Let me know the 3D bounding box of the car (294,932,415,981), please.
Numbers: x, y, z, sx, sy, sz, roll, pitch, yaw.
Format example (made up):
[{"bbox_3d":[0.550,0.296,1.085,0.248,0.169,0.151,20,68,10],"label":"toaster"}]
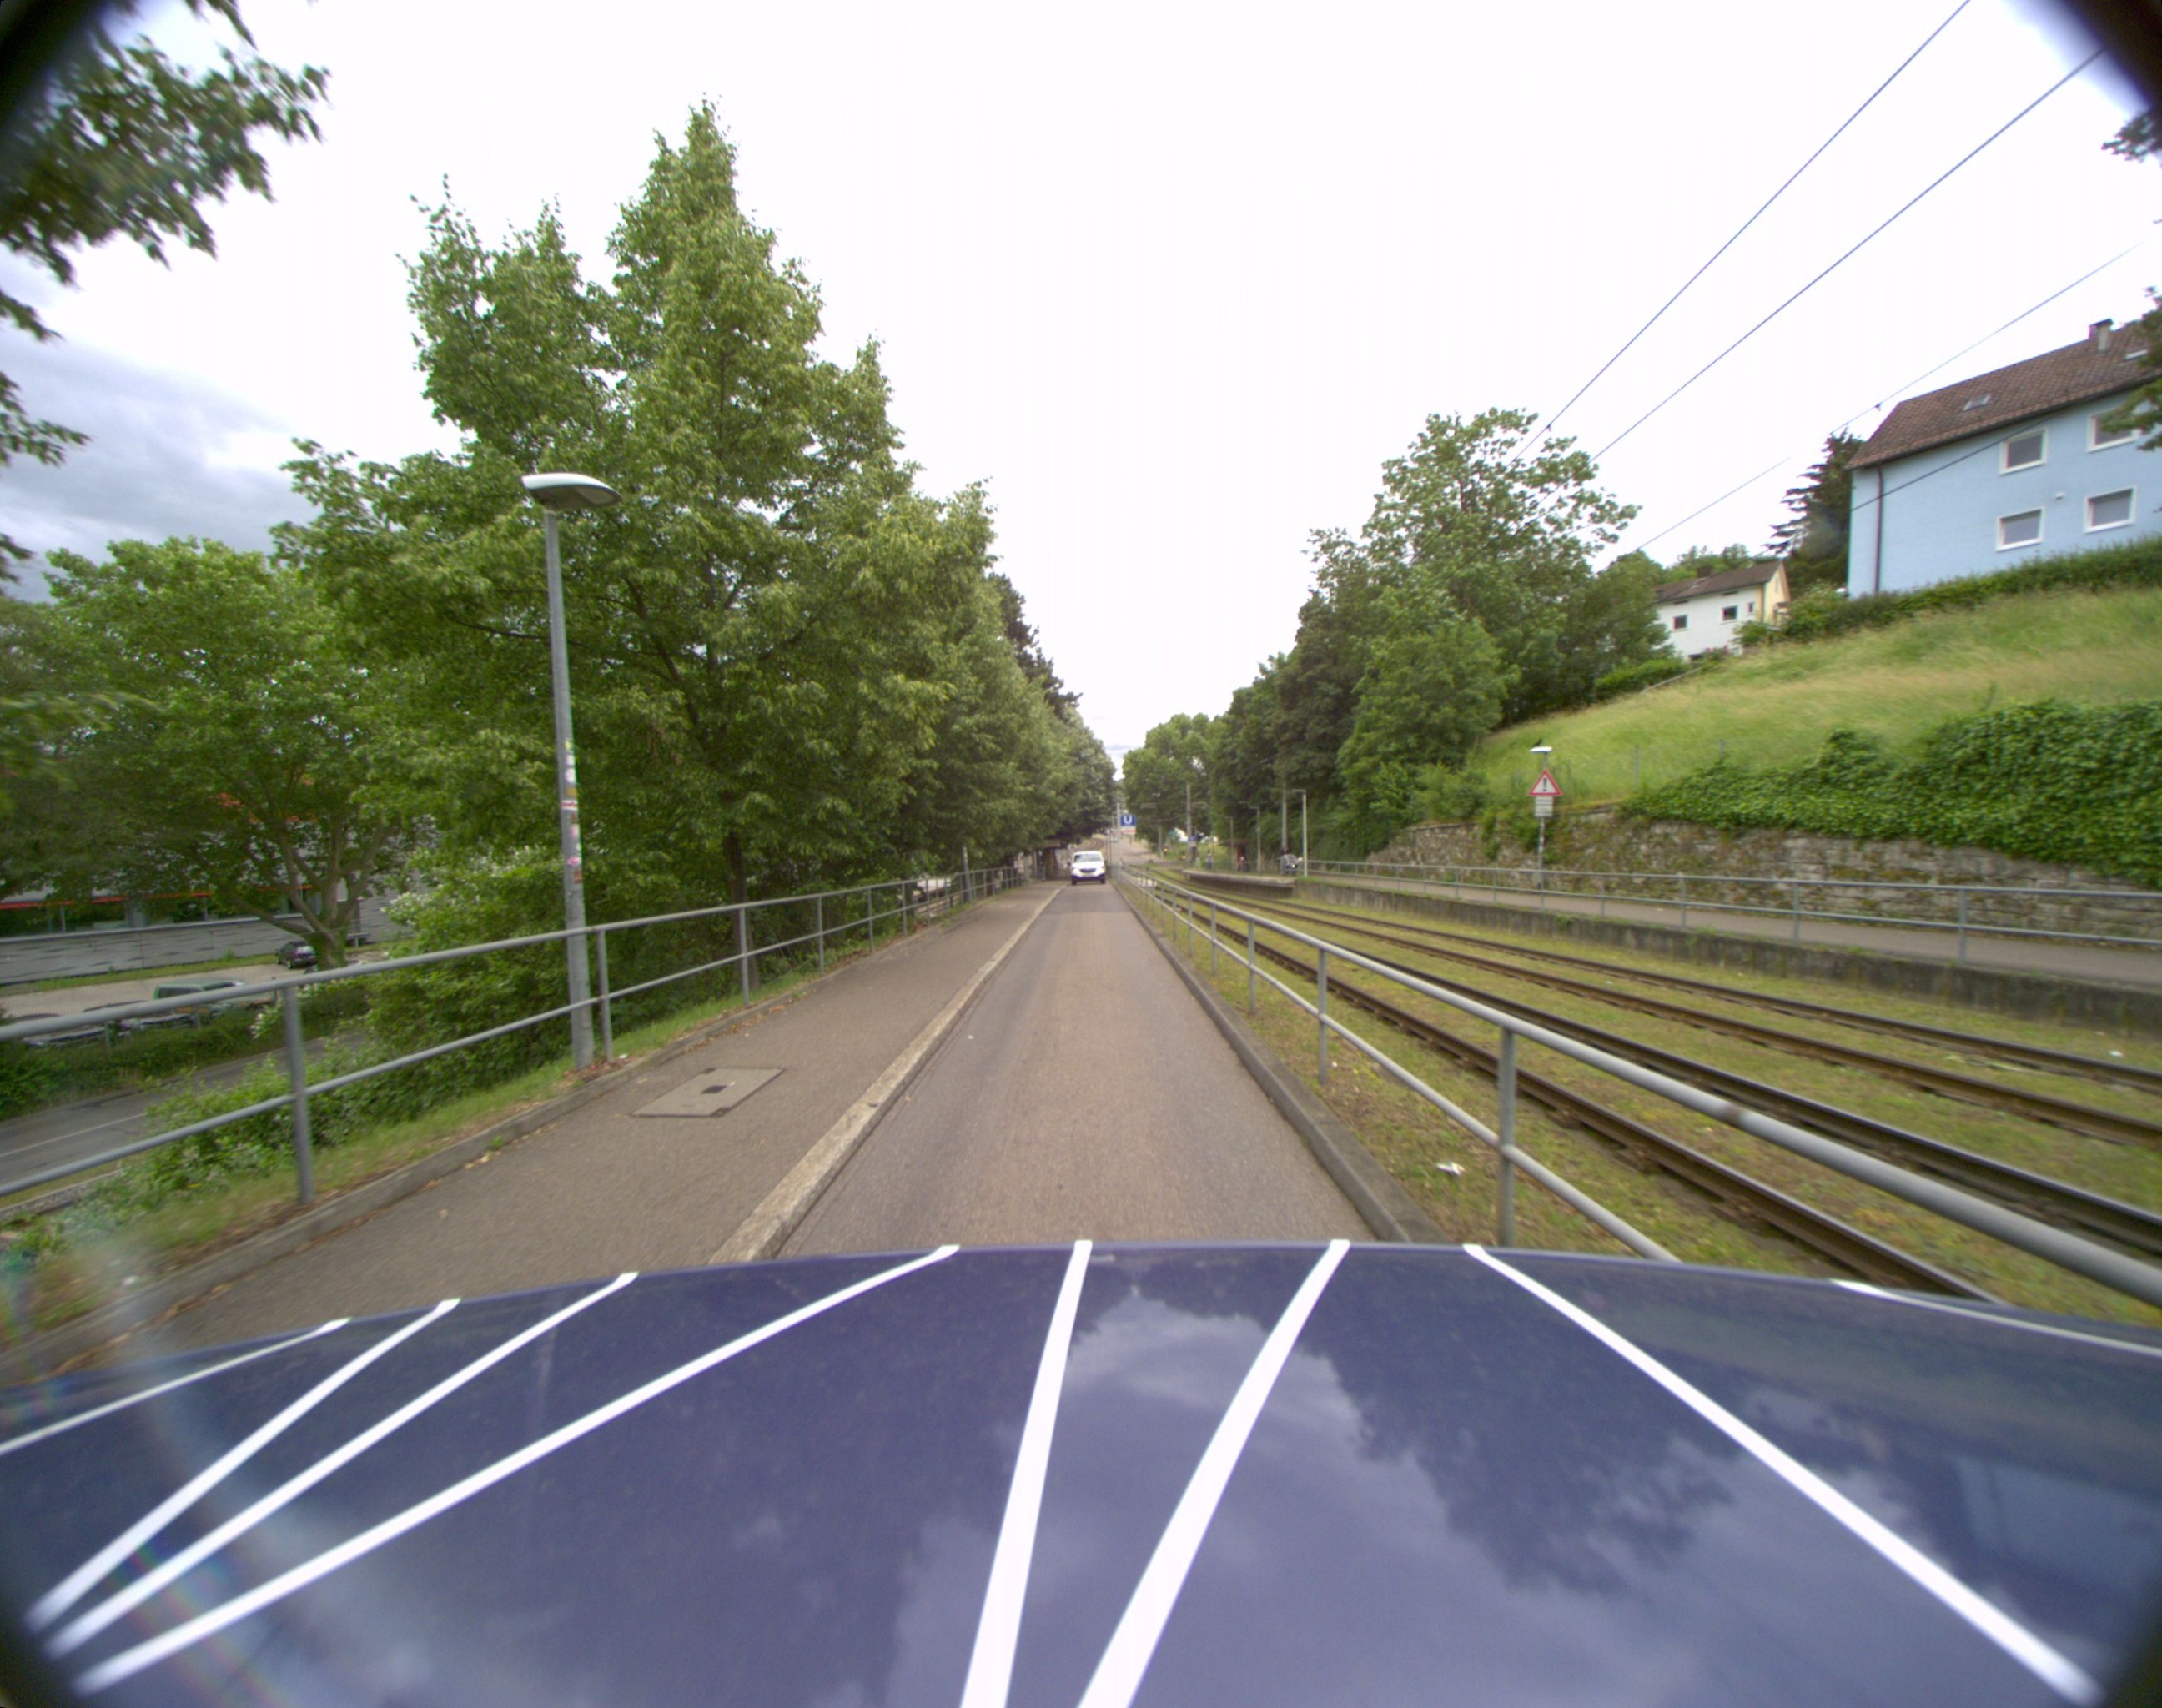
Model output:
[{"bbox_3d":[-35.642,4.999,37.347,3.996,2.002,2.000,-2,2,3],"label":"car"}]

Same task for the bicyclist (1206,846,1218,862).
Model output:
[{"bbox_3d":[12.489,-0.002,72.562,0.747,1.422,0.907,-2,-1,-12],"label":"bicyclist"}]

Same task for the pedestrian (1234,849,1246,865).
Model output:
[{"bbox_3d":[13.891,0.283,66.268,0.823,1.315,0.774,-2,2,-5],"label":"pedestrian"}]

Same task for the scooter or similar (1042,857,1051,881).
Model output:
[{"bbox_3d":[-2.119,0.900,46.450,0.431,1.377,1.455,-2,2,1],"label":"scooter or similar"}]

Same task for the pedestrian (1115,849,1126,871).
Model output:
[{"bbox_3d":[2.711,0.435,52.320,0.739,1.493,0.627,-2,0,2],"label":"pedestrian"}]

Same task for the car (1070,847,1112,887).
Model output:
[{"bbox_3d":[0.597,0.631,40.061,1.809,1.910,4.479,-2,1,5],"label":"car"}]

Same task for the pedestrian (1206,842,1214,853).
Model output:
[{"bbox_3d":[21.267,-1.036,125.115,1.117,1.724,0.694,-2,2,7],"label":"pedestrian"}]

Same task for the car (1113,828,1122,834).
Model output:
[{"bbox_3d":[10.667,-6.635,221.823,1.997,1.648,4.001,-2,1,7],"label":"car"}]

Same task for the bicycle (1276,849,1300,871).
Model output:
[{"bbox_3d":[11.821,0.339,43.519,0.752,1.232,2.867,-3,0,5],"label":"bicycle"}]

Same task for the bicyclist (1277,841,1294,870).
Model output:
[{"bbox_3d":[11.863,0.101,44.025,0.706,1.619,1.033,-3,0,4],"label":"bicyclist"}]

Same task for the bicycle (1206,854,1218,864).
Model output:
[{"bbox_3d":[12.493,0.505,72.676,0.479,0.919,1.843,-2,-1,-12],"label":"bicycle"}]

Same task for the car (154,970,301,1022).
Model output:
[{"bbox_3d":[-36.689,6.086,32.705,4.575,1.782,2.001,-2,2,10],"label":"car"}]

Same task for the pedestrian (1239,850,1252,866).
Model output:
[{"bbox_3d":[14.090,0.326,65.085,0.823,1.367,0.774,-2,2,-5],"label":"pedestrian"}]

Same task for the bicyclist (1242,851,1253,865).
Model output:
[{"bbox_3d":[13.253,0.319,60.343,0.691,1.047,0.744,-2,0,1],"label":"bicyclist"}]

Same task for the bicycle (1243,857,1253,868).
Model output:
[{"bbox_3d":[13.207,0.670,60.219,0.451,0.776,1.565,-2,0,1],"label":"bicycle"}]
